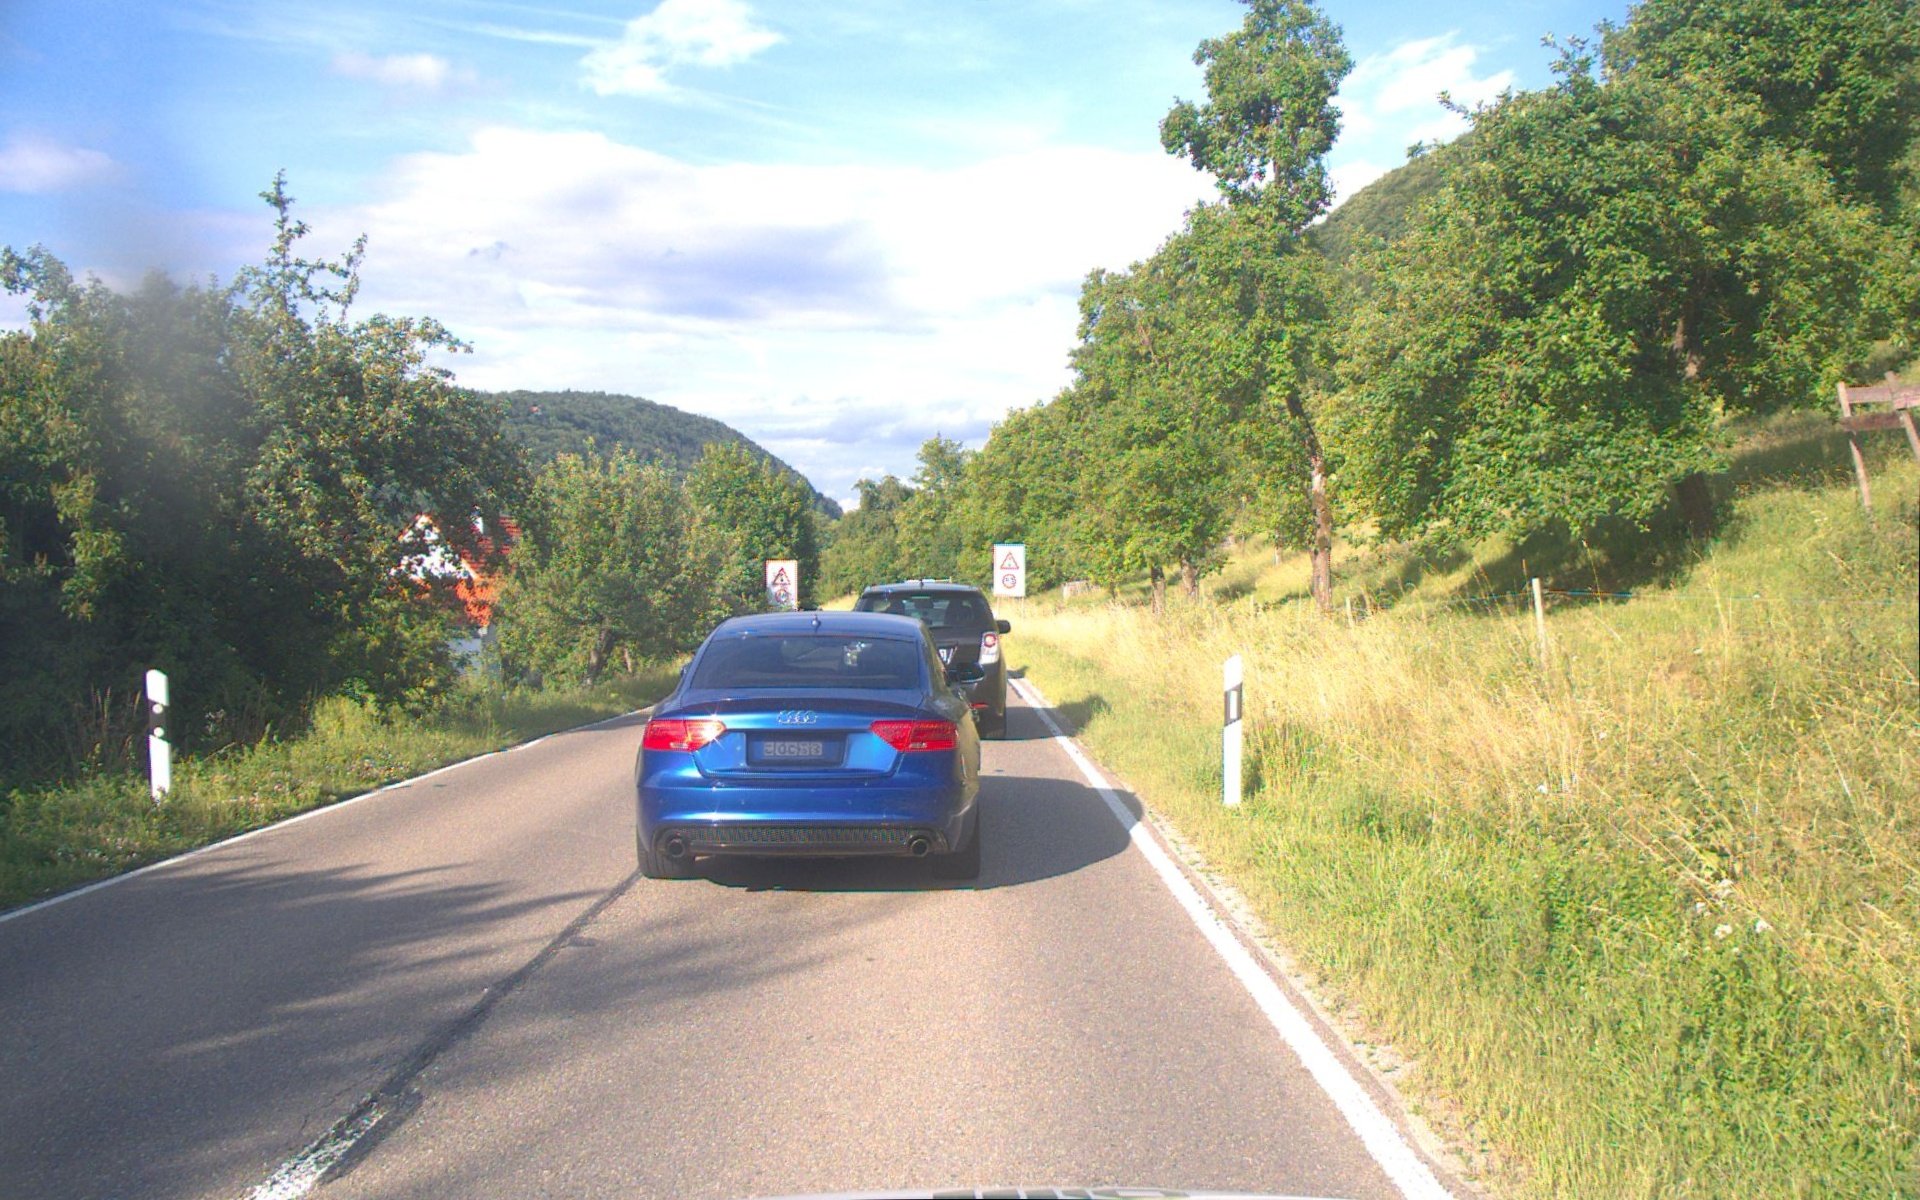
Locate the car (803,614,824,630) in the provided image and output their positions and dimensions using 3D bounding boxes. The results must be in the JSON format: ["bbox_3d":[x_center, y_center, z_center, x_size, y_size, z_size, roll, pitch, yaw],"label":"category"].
[{"bbox_3d":[-14.912,2.231,168.304,1.532,1.522,3.765,1,0,-13],"label":"car"}]

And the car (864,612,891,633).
[{"bbox_3d":[-6.220,1.680,124.255,1.715,1.522,3.771,1,0,-8],"label":"car"}]

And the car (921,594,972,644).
[{"bbox_3d":[-0.461,0.619,56.002,1.658,1.652,3.788,0,0,-1],"label":"car"}]

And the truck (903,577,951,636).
[{"bbox_3d":[-1.435,0.271,70.831,1.910,2.386,5.092,1,0,-2],"label":"truck"}]

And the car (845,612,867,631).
[{"bbox_3d":[-8.740,1.803,138.753,1.530,1.522,3.770,1,0,-9],"label":"car"}]

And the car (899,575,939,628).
[{"bbox_3d":[-2.030,0.081,80.904,1.756,2.496,3.916,1,0,-4],"label":"car"}]

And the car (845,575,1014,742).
[{"bbox_3d":[-0.332,0.570,18.216,1.658,1.652,3.788,0,0,-1],"label":"car"}]

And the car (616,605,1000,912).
[{"bbox_3d":[-0.718,0.742,9.744,1.769,1.406,4.214,0,0,-1],"label":"car"}]
